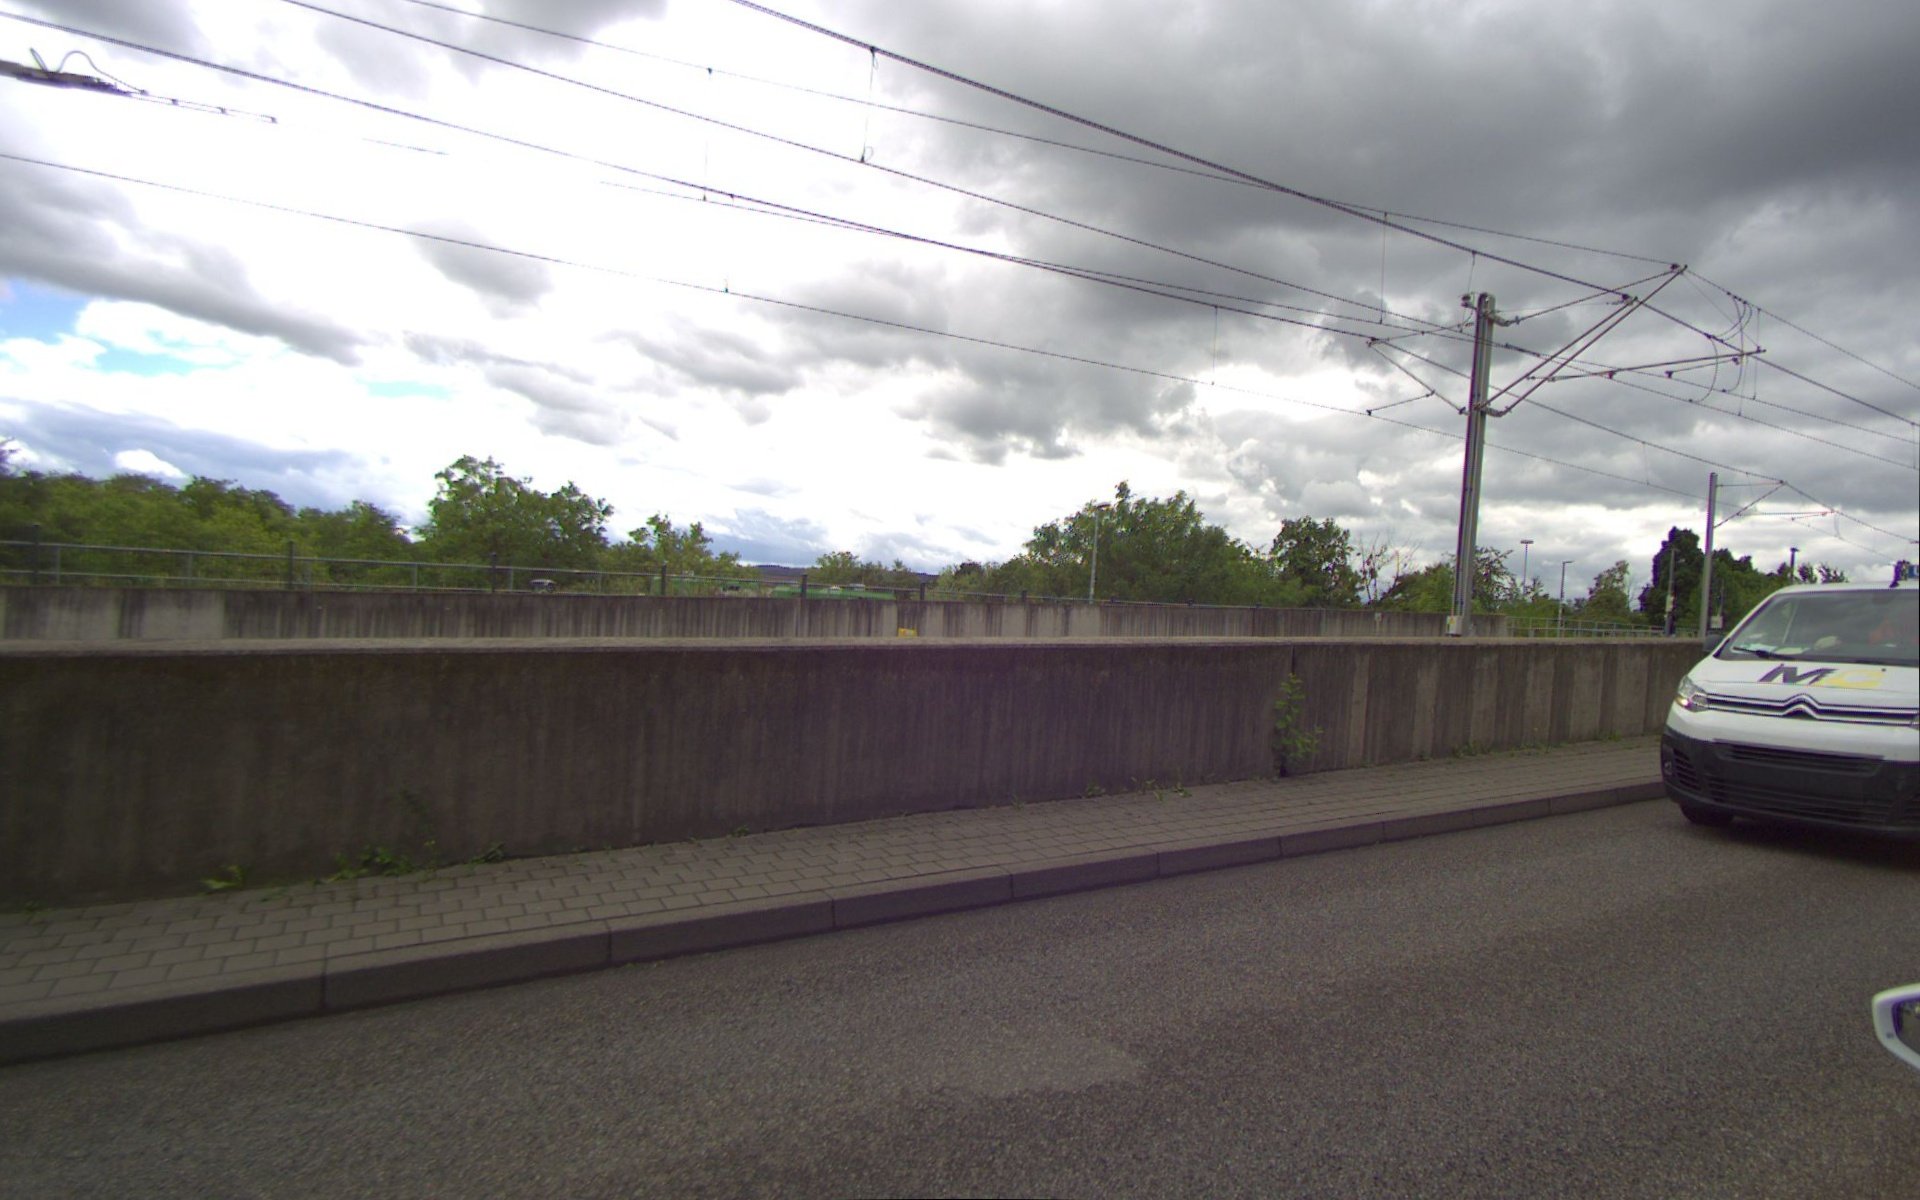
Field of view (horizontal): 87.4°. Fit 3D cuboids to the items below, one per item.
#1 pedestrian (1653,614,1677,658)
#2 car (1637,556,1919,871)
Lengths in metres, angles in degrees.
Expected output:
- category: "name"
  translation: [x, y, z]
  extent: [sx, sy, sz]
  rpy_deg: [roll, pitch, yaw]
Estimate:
- category: "pedestrian"
  translation: [26.857, 1.375, 38.281]
  extent: [0.638, 1.646, 0.505]
  rpy_deg: [2, 0, -31]
- category: "car"
  translation: [7.427, 0.744, 7.708]
  extent: [4.850, 1.857, 1.886]
  rpy_deg: [2, -2, -32]
